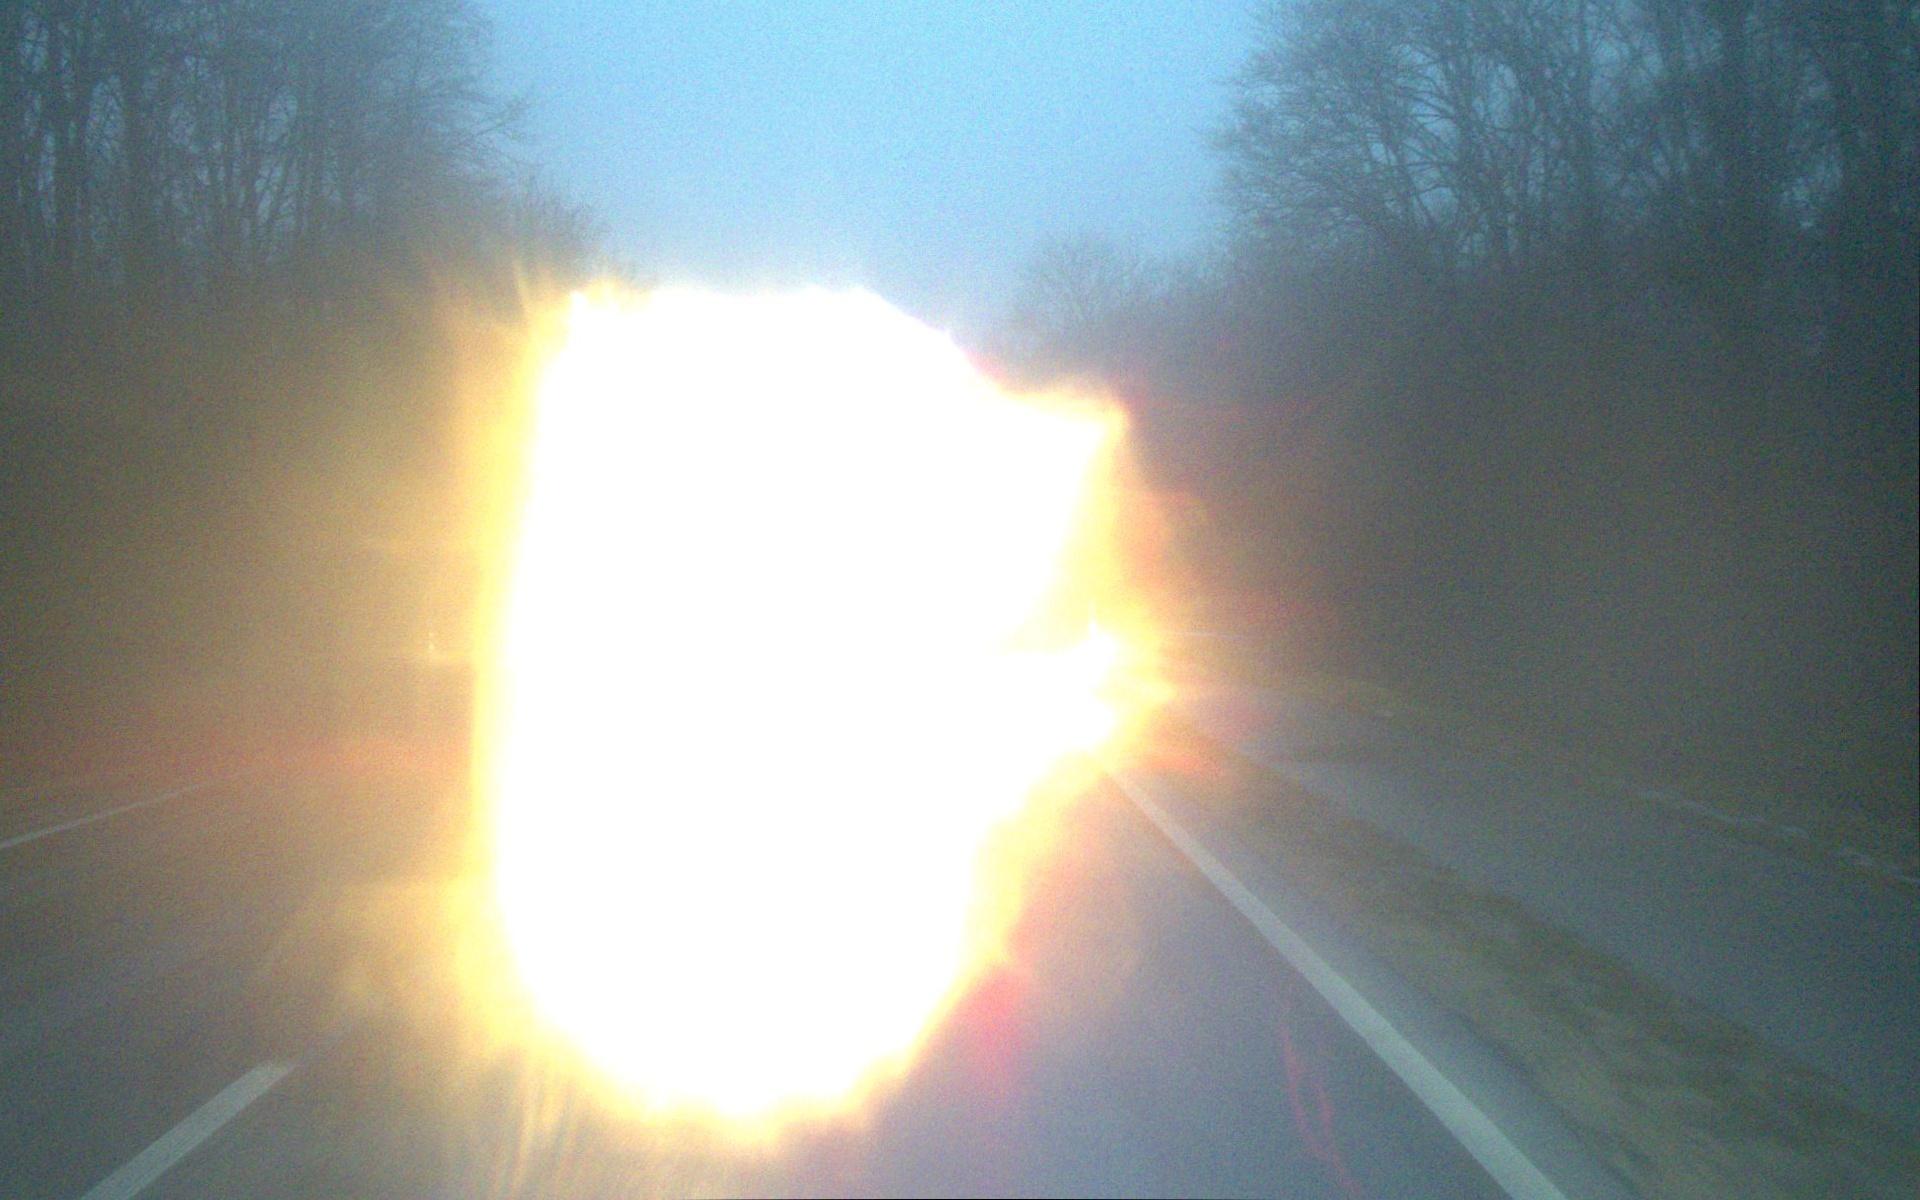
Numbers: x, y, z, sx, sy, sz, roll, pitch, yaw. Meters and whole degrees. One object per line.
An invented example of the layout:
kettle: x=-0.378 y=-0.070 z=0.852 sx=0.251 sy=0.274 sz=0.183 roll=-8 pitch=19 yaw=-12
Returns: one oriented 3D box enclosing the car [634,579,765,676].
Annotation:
car: x=-4.225 y=0.421 z=56.270 sx=1.799 sy=1.456 sz=4.177 roll=-2 pitch=0 yaw=0
